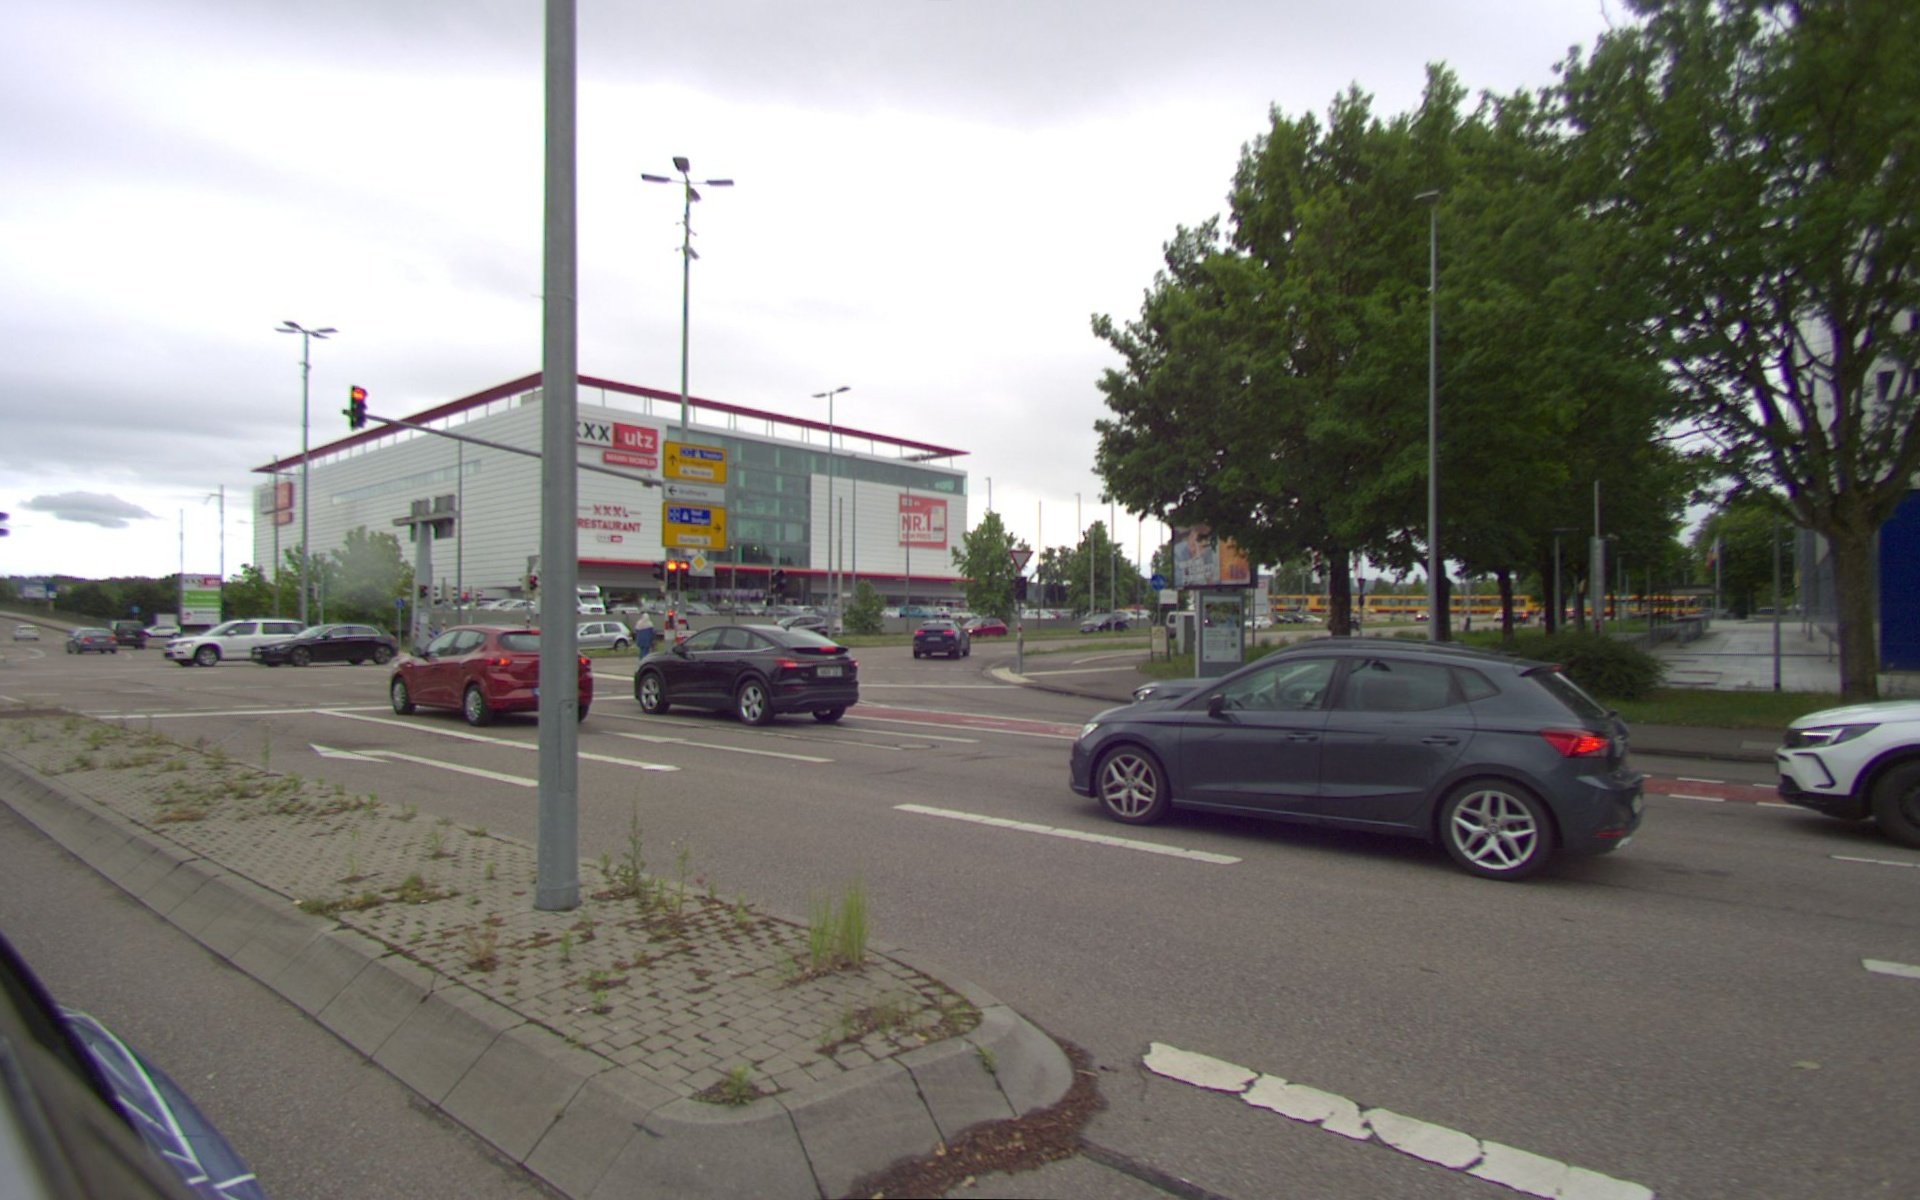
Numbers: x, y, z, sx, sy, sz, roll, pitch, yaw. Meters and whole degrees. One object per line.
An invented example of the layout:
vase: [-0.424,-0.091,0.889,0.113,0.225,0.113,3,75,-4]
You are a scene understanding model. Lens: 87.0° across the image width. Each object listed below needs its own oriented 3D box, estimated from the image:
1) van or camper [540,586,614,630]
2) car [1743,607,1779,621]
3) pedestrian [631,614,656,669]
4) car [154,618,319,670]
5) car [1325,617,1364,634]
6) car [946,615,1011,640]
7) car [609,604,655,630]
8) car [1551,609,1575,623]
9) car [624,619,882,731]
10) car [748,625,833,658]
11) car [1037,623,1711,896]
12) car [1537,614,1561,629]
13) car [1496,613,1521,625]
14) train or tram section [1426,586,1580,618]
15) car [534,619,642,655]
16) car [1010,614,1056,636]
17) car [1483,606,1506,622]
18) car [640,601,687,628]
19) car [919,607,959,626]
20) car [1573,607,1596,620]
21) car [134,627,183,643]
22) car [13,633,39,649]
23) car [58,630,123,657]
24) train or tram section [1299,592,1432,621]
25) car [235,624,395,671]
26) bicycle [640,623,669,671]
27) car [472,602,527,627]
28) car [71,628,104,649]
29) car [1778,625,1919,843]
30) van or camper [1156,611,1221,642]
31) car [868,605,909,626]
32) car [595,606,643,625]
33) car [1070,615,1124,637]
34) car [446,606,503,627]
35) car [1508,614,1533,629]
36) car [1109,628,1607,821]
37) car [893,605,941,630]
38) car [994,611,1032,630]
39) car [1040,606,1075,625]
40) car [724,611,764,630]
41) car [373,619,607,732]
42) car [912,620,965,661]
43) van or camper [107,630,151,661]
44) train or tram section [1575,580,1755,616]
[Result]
van or camper: [-30.996,0.673,81.812,7.236,3.159,2.676,-4,-3,43]
car: [104.190,1.812,131.611,3.564,1.652,1.720,-4,-2,40]
pedestrian: [-9.653,1.270,30.879,0.630,1.639,0.694,1,-1,-24]
car: [-25.077,1.505,35.202,1.796,1.637,4.321,-3,-2,36]
car: [32.719,2.139,86.007,1.727,1.382,3.943,-1,-2,43]
car: [1.185,1.758,64.351,1.802,1.426,4.160,-4,-2,42]
car: [-27.423,1.424,84.648,3.865,1.962,1.845,-4,-2,40]
car: [83.007,2.233,139.266,3.867,1.901,1.849,1,-4,-45]
car: [-3.555,1.197,17.044,4.327,1.650,1.862,-1,-4,38]
car: [-8.905,2.166,53.238,1.802,1.586,4.160,-4,-2,42]
car: [2.874,0.968,7.576,4.327,1.473,1.839,-2,-4,39]
car: [78.706,2.840,135.169,3.867,1.901,1.850,1,-1,-45]
car: [70.466,2.415,129.944,1.788,1.463,3.876,0,-1,44]
train or tram section: [94.080,0.505,176.298,23.265,4.875,3.584,-2,-2,40]
car: [-16.630,1.633,45.397,1.802,1.426,4.160,-4,-2,42]
car: [7.467,2.575,104.170,4.324,2.029,1.973,-4,-2,41]
car: [73.761,1.952,139.548,1.998,2.236,3.947,-1,-2,39]
car: [-23.937,1.194,81.541,3.867,1.962,1.844,-4,-2,41]
car: [-2.163,1.696,104.409,1.889,1.807,3.946,-4,-2,40]
car: [88.954,1.865,144.147,3.865,1.732,1.850,-1,-3,-43]
car: [-87.891,3.782,110.969,4.134,1.622,1.724,0,-3,-43]
car: [-89.283,3.935,96.773,1.807,1.421,4.202,2,-4,-42]
car: [-48.838,2.467,56.838,4.870,1.422,1.795,-3,-4,38]
train or tram section: [76.226,1.284,191.168,23.265,4.875,3.584,-2,-2,40]
car: [-21.493,1.565,33.885,1.761,1.389,4.216,-3,-2,29]
bicycle: [-9.337,1.429,30.929,0.587,1.407,1.940,2,-1,-24]
car: [-40.459,1.258,88.938,2.000,2.029,3.942,-4,-3,44]
car: [-78.111,3.440,90.544,4.000,1.674,1.834,-4,-3,43]
car: [8.876,1.002,7.298,4.572,1.607,1.973,-2,-5,39]
van or camper: [14.184,1.627,62.581,2.000,1.735,4.333,-4,-2,42]
car: [-7.431,1.637,105.263,1.999,2.029,3.946,-4,-2,40]
car: [-33.887,1.521,100.661,1.777,1.688,4.200,-4,-2,42]
car: [10.075,1.894,74.164,1.802,1.426,4.160,-4,-2,42]
car: [-43.165,1.474,90.050,1.777,1.688,4.200,-4,-2,42]
car: [68.101,2.561,122.909,1.847,1.668,4.303,1,1,40]
car: [4.059,1.136,10.726,4.592,1.556,1.862,0,-3,38]
car: [-3.826,1.529,89.974,3.997,2.029,1.973,-4,-2,41]
car: [6.088,2.409,117.507,3.997,2.029,1.973,-4,-2,41]
car: [10.992,1.786,114.262,1.999,2.029,3.946,-4,-2,40]
car: [-22.666,2.148,106.127,3.997,1.752,1.973,-4,-2,40]
car: [-7.499,1.106,16.010,4.074,1.499,1.718,0,-2,39]
car: [-0.792,1.564,39.755,1.680,1.498,4.112,1,-2,5]
van or camper: [-57.694,3.187,70.356,2.129,2.029,4.953,3,-4,-38]
train or tram section: [111.935,-0.211,161.457,23.265,4.875,3.584,-2,-2,40]
